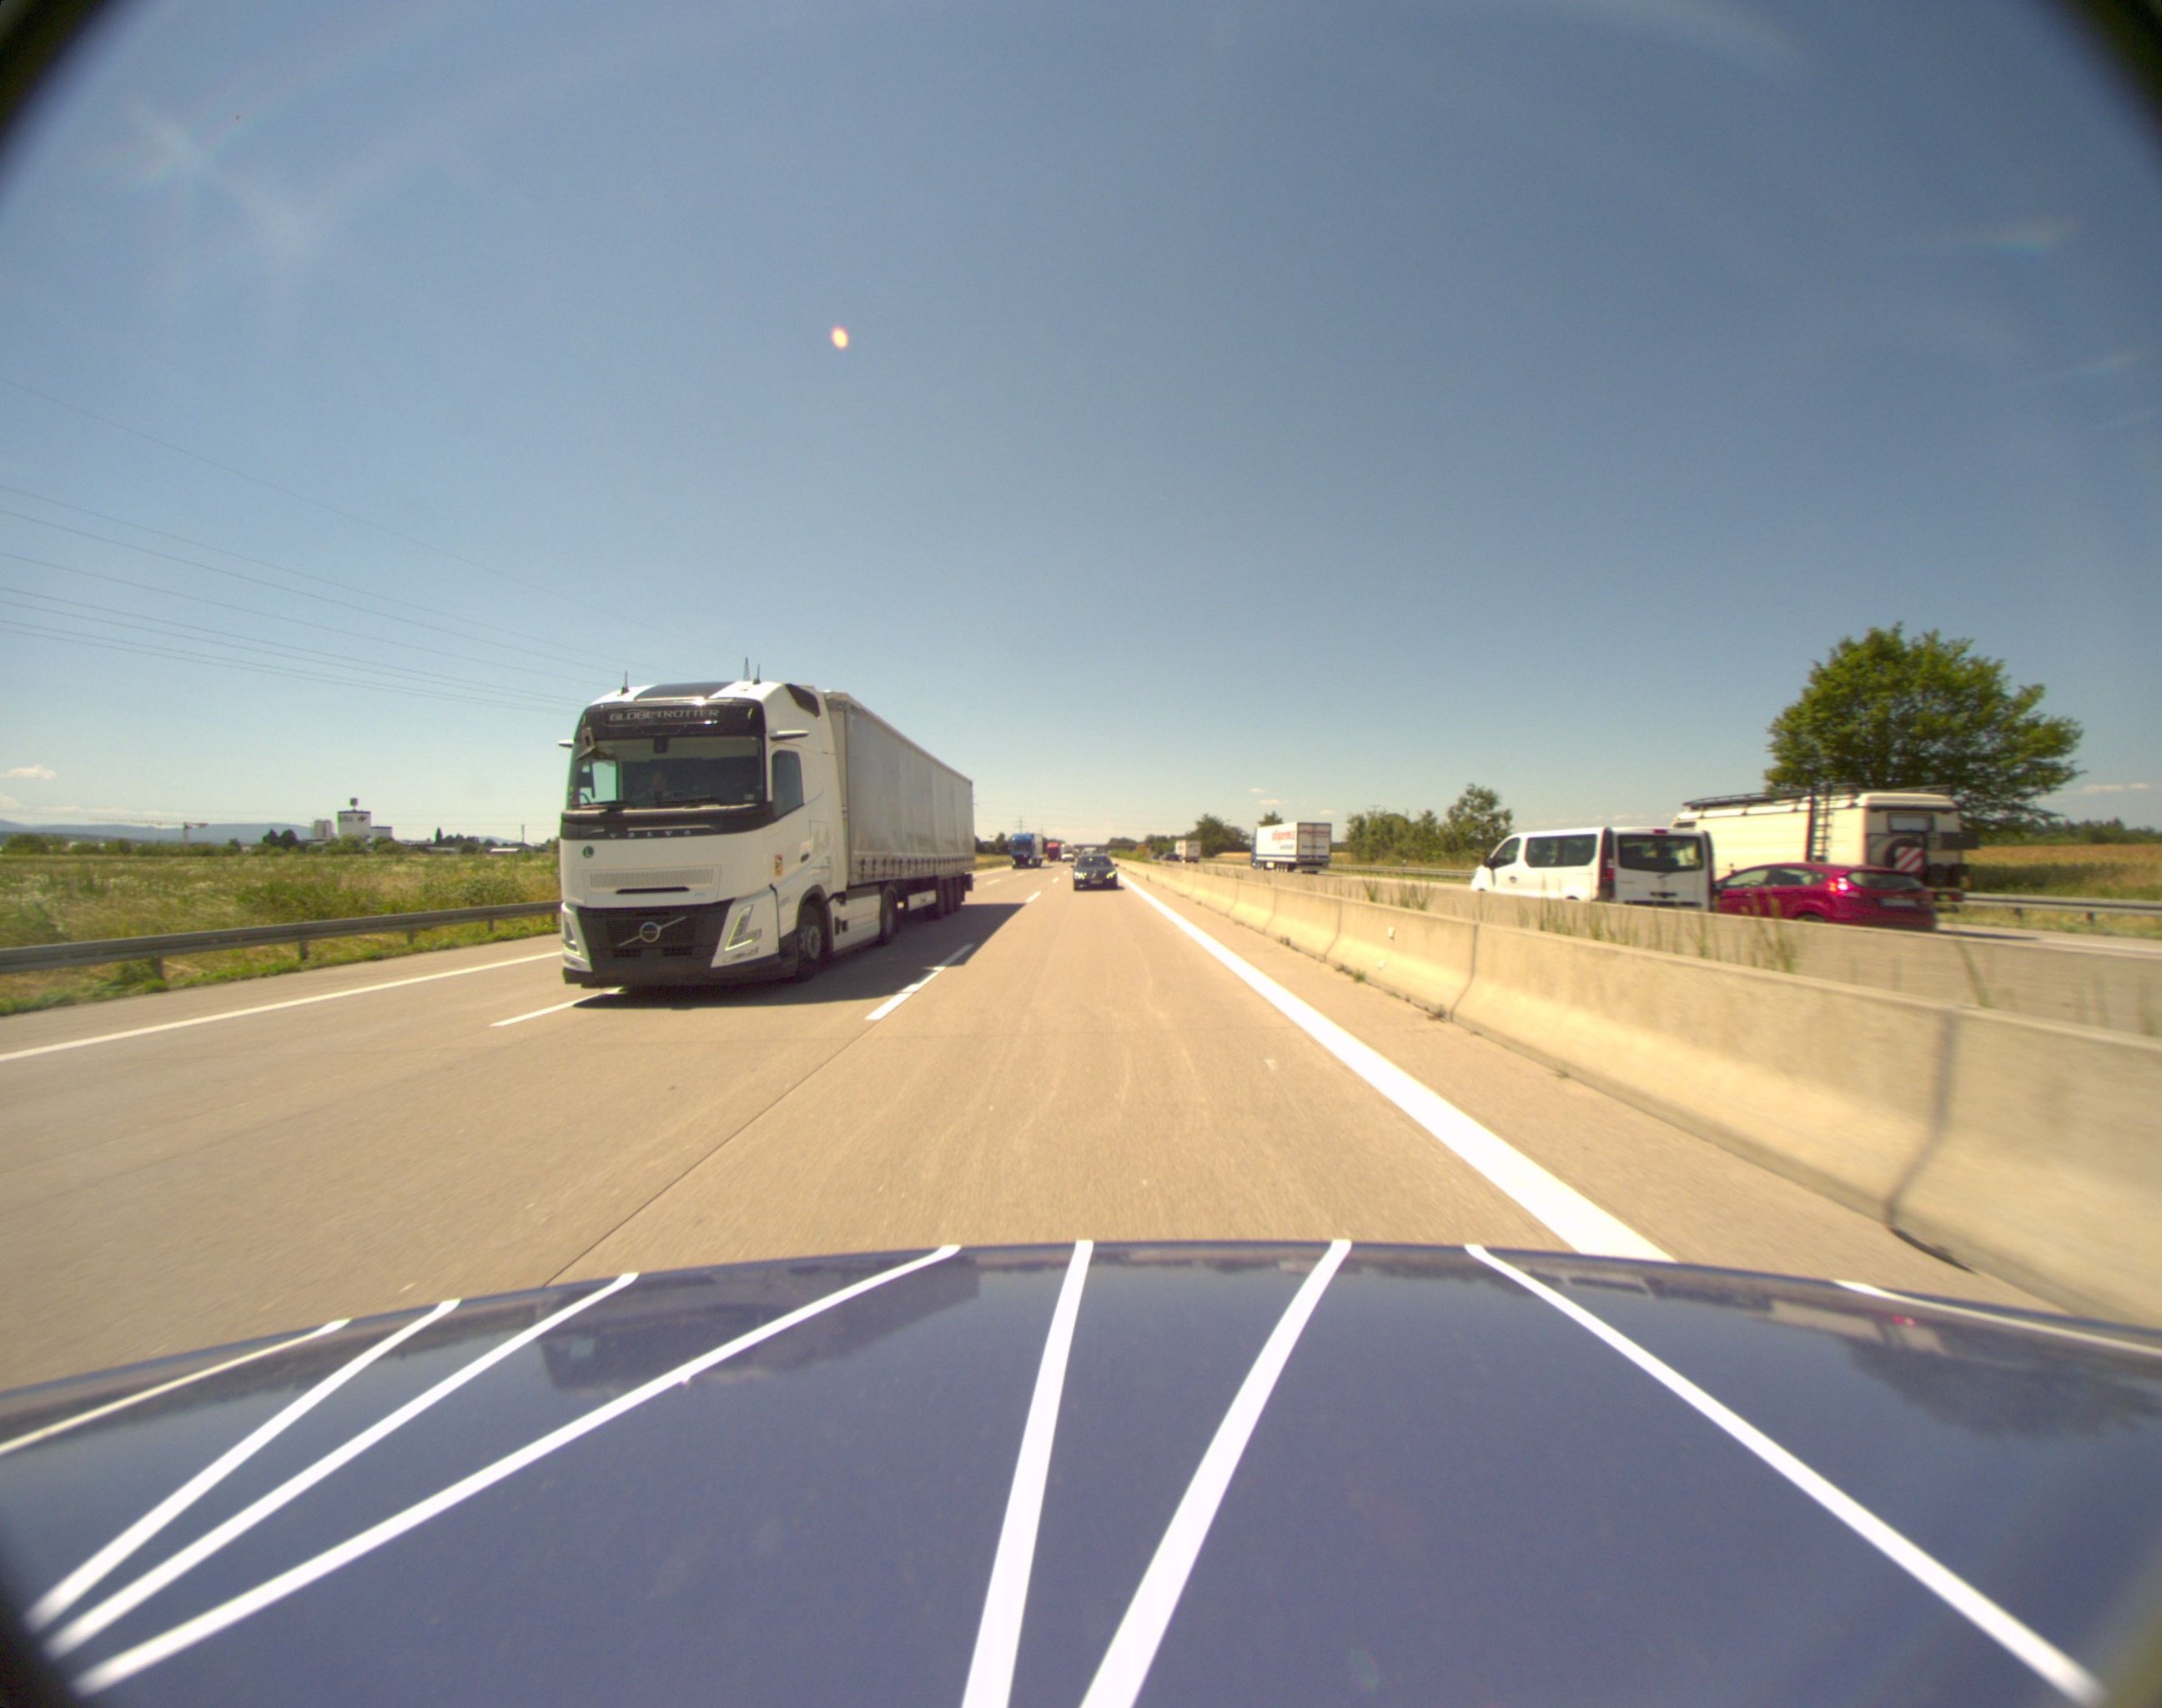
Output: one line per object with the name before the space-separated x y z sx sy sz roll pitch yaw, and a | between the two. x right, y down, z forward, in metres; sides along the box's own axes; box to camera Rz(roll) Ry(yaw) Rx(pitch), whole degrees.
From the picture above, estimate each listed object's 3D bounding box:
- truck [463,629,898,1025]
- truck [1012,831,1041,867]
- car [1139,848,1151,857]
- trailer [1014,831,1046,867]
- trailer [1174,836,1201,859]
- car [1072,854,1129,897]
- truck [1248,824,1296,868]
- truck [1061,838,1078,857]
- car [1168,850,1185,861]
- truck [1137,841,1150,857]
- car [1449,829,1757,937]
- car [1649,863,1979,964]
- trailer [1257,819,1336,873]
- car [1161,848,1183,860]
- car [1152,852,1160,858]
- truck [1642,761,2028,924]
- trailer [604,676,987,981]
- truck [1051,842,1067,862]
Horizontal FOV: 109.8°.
truck | -4.868 -0.286 10.723 2.992 4.039 5.477 -2 0 1
truck | -6.242 -0.564 87.967 2.757 4.020 5.466 -2 0 1
car | 11.015 -0.286 131.599 1.732 1.476 4.117 -2 0 0
trailer | -6.183 -0.594 94.404 2.715 4.020 12.902 -2 0 1
trailer | 18.692 -1.149 134.233 2.777 3.780 13.827 -2 0 0
car | 0.766 0.757 30.368 1.998 1.462 6.347 -2 0 1
truck | 17.616 -0.710 70.380 2.904 3.841 5.684 -2 0 0
truck | -2.043 -1.133 142.319 2.784 3.328 7.813 -2 0 1
car | 14.481 0.198 115.429 1.998 1.574 4.369 4 0 0
truck | 15.785 -1.277 193.305 2.750 4.056 5.540 -2 0 1
car | 9.539 0.428 14.731 2.144 1.669 5.644 -1 1 1
car | 12.888 0.932 13.871 1.692 1.451 4.487 1 0 1
trailer | 17.535 -0.642 62.978 2.916 3.886 12.509 -2 0 1
car | 10.490 -0.037 87.787 1.903 1.318 5.069 -2 0 1
car | 15.527 0.246 157.208 1.306 1.056 2.898 -2 0 0
truck | 17.218 -0.241 18.241 2.328 3.066 6.977 -2 0 1
trailer | -4.768 -0.378 17.464 3.025 4.037 14.206 -2 0 1
truck | -4.878 -0.442 168.394 2.855 4.297 10.886 -2 0 1
